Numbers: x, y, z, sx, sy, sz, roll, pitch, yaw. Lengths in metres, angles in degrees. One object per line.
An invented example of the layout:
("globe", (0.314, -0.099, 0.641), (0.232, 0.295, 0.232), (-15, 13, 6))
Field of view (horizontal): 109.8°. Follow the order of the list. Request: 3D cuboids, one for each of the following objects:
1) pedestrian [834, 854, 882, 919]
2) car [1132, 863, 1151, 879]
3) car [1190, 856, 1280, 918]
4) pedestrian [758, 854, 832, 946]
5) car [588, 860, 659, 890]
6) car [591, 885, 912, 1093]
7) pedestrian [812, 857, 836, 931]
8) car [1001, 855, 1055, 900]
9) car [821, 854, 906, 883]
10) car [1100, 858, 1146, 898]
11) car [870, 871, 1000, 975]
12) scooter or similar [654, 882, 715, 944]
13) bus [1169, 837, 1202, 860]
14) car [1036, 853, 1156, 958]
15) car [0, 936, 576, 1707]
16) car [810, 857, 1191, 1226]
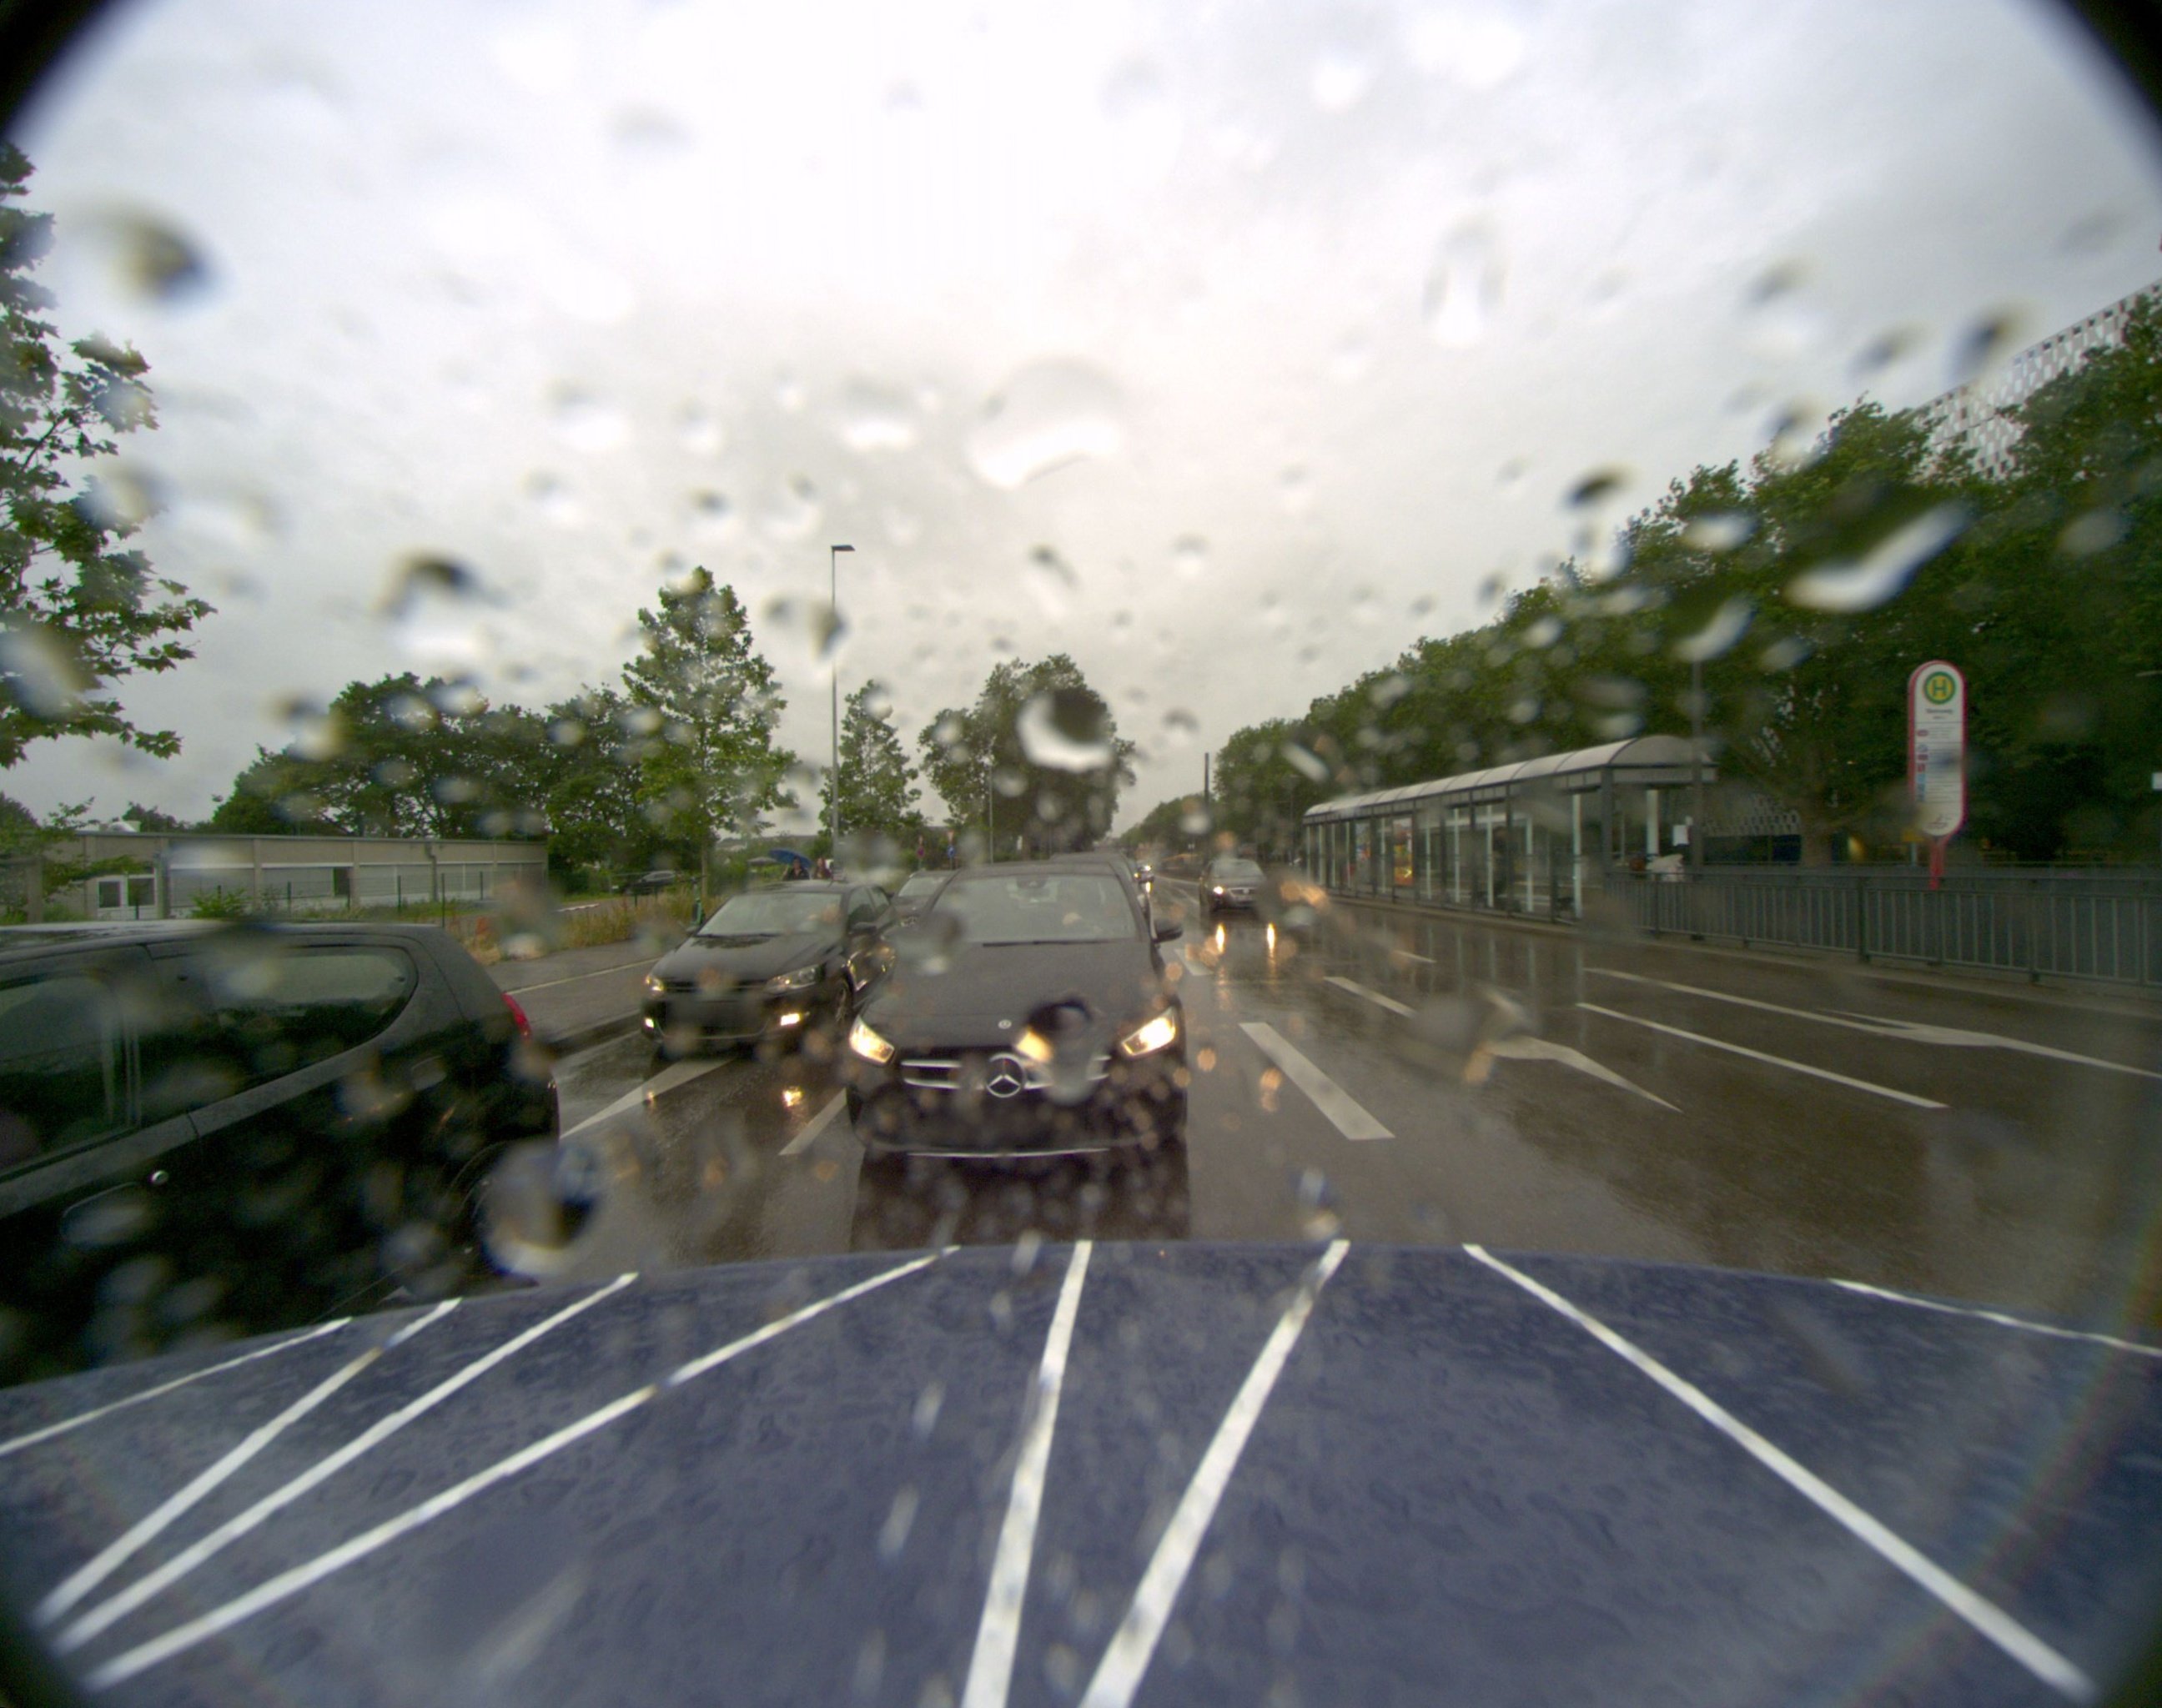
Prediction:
("pedestrian", (-6.030, 0.855, 20.622), (1.025, 1.698, 0.891), (1, 1, 0))
("car", (7.069, 1.986, 88.751), (1.794, 1.597, 3.999), (-2, 1, 0))
("car", (4.302, 0.854, 21.861), (1.775, 1.492, 4.597), (-2, 1, 2))
("pedestrian", (-5.642, 0.878, 15.052), (1.082, 1.746, 0.969), (0, 1, 0))
("car", (-33.963, 1.521, 56.518), (3.996, 2.002, 2.000), (-2, 1, 2))
("car", (-2.953, 1.120, 7.697), (1.633, 1.420, 3.624), (-2, 0, 0))
("pedestrian", (-5.895, 0.911, 17.429), (0.401, 1.652, 0.441), (1, 1, 0))
("car", (-1.875, 0.810, 28.032), (1.703, 1.461, 4.121), (-2, 1, 0))
("car", (-13.719, 0.907, 48.194), (4.759, 1.640, 1.999), (-2, 1, -2))
("car", (1.870, 1.050, 34.957), (1.794, 1.597, 3.999), (-2, 1, 0))
("car", (-2.675, 1.218, 14.797), (1.698, 1.565, 3.813), (-2, 1, 1))
("scooter or similar", (-8.213, 1.189, 15.806), (0.381, 1.123, 1.777), (0, 1, -1))
("bus", (16.253, -0.912, 119.328), (2.938, 3.310, 15.060), (-2, 1, 0))
("car", (0.201, 0.730, 12.478), (1.633, 1.420, 3.624), (-2, 0, 0))
("car", (-3.013, 1.086, 1.453), (1.633, 1.420, 3.624), (-2, 0, 0))
("car", (-0.338, 0.876, 5.571), (1.690, 1.578, 4.163), (-2, 1, 1))
